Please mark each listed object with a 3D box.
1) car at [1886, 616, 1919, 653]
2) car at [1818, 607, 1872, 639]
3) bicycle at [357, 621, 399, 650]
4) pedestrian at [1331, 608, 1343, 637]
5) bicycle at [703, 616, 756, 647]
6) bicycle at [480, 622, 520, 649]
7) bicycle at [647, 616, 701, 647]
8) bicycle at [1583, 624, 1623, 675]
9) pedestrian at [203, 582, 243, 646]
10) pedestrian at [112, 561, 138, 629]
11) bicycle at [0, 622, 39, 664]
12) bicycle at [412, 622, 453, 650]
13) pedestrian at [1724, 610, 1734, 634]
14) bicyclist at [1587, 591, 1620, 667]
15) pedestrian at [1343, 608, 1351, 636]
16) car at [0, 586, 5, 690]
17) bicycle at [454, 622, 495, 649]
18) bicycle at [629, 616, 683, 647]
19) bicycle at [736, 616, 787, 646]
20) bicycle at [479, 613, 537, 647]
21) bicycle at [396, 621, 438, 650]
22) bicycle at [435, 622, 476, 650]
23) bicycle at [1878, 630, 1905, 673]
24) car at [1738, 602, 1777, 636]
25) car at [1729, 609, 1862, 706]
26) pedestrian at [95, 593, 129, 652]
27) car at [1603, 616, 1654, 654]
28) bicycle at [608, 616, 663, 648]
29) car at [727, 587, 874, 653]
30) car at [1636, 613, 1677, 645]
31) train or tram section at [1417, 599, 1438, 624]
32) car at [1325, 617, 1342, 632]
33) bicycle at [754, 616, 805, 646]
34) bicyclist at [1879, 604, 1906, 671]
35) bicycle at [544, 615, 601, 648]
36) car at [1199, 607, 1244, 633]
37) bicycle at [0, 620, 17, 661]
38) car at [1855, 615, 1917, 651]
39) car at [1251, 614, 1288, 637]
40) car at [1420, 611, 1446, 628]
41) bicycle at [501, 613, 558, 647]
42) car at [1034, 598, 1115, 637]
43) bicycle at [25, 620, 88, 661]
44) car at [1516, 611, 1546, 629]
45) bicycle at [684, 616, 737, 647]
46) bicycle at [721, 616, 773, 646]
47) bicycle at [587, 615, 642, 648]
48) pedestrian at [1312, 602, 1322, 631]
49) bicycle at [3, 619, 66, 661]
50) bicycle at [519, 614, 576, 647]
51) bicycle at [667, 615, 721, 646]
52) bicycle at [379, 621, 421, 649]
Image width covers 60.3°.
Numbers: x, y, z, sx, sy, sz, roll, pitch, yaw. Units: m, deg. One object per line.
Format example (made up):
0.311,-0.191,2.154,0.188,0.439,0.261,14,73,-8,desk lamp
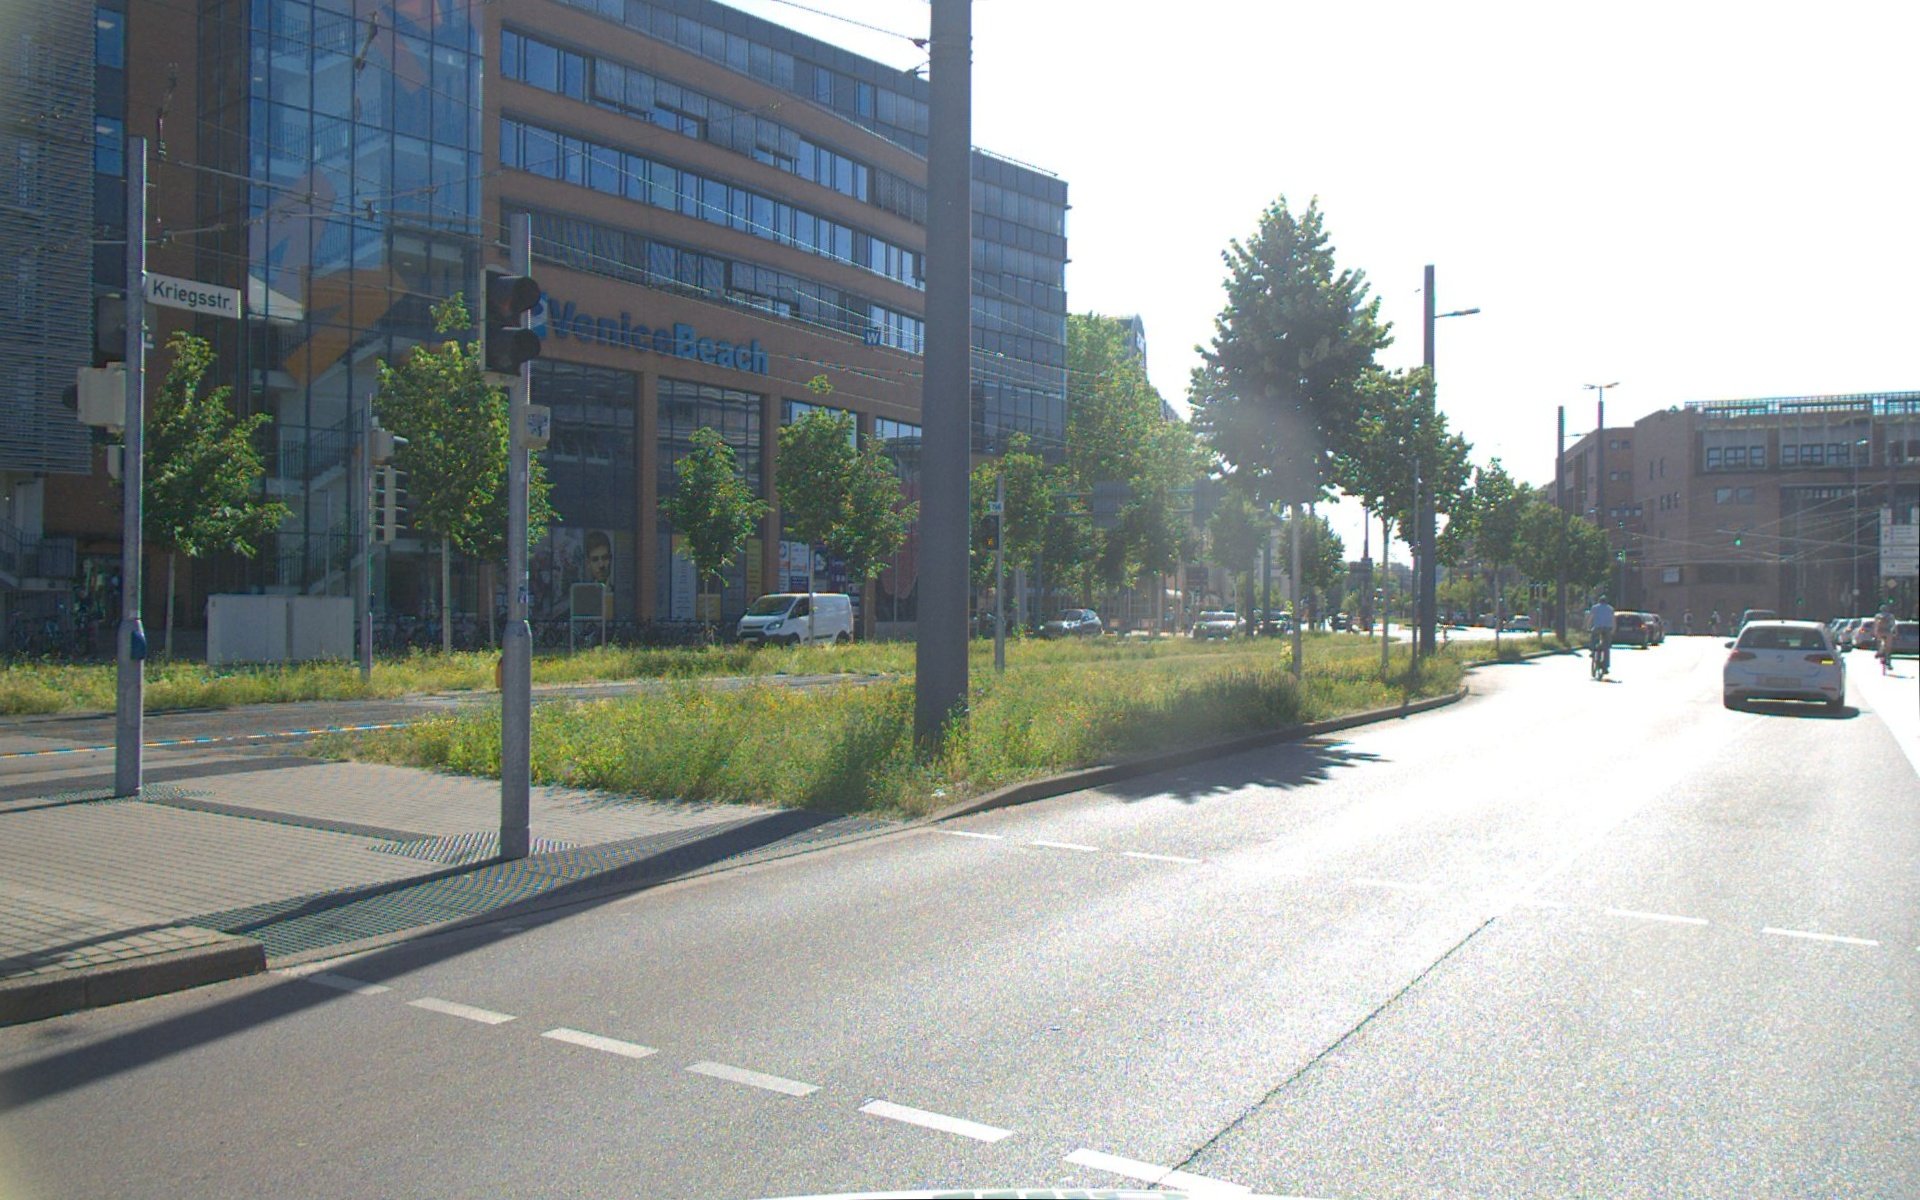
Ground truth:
38.863,1.391,67.302,1.687,1.420,4.784,1,0,25,car
47.342,1.212,88.560,1.866,1.568,4.139,2,1,19,car
-17.703,1.084,50.306,1.421,0.833,0.444,1,0,34,bicycle
23.990,1.445,105.242,0.570,1.863,0.496,1,-1,-14,pedestrian
-9.216,1.250,66.188,2.135,1.143,0.751,1,0,34,bicycle
-15.070,1.147,54.209,1.421,0.833,0.444,1,0,34,bicycle
-11.108,1.219,64.266,2.135,1.143,0.751,1,0,34,bicycle
14.679,1.107,37.715,0.673,1.088,2.695,2,0,25,bicycle
-19.867,0.366,44.602,0.584,1.714,0.778,0,-1,26,pedestrian
-24.510,-0.142,48.557,0.536,1.948,0.368,3,-3,-43,pedestrian
-23.773,1.049,41.245,2.135,0.971,0.491,1,0,34,bicycle
-16.647,1.117,52.184,1.421,0.833,0.444,1,0,34,bicycle
54.549,1.540,117.335,0.468,1.685,0.492,0,-1,8,pedestrian
14.711,0.653,37.786,0.605,1.699,1.019,2,0,25,bicyclist
25.046,1.428,107.153,0.378,1.863,0.463,0,-1,-7,pedestrian
-17.843,0.588,25.155,1.778,1.681,5.525,0,-1,36,car
-15.680,1.131,53.379,1.421,0.833,0.444,1,0,34,bicycle
-11.678,1.206,63.544,2.135,1.143,0.751,1,0,34,bicycle
-8.209,1.269,68.376,2.135,1.143,0.751,1,0,34,bicycle
-15.935,1.043,58.250,2.135,1.143,0.751,1,0,34,bicycle
-16.890,1.096,51.407,1.421,0.833,0.444,1,0,34,bicycle
-16.035,1.134,52.573,1.421,0.833,0.444,1,0,34,bicycle
25.469,1.395,45.239,0.637,1.129,1.755,0,-1,29,bicycle
43.273,1.027,89.804,1.747,1.732,4.135,2,1,24,car
14.085,0.915,27.773,1.740,1.427,4.285,3,1,30,car
-23.153,0.610,45.140,0.656,1.580,0.627,1,-1,-45,pedestrian
28.748,1.486,71.069,1.693,1.591,3.672,0,-1,27,car
-12.295,1.189,62.711,2.135,1.143,0.751,1,0,34,bicycle
-5.150,0.652,54.217,2.179,2.049,5.245,0,-1,30,car
33.382,1.376,79.192,1.692,1.474,4.518,0,-1,24,car
58.583,1.470,207.324,2.277,3.056,13.169,0,0,15,train or tram section
37.699,2.468,166.969,1.575,1.422,3.923,-4,-1,12,car
-7.536,1.289,69.053,2.135,1.143,0.751,1,0,34,bicycle
25.526,1.015,45.294,0.637,1.783,1.043,0,0,30,bicyclist
-14.204,1.141,60.612,2.135,1.143,0.751,1,0,34,bicycle
14.150,1.061,89.398,1.951,1.357,4.793,0,0,14,car
-24.042,0.974,40.759,2.135,0.971,0.491,1,0,34,bicycle
46.372,1.630,82.932,1.866,1.611,4.140,2,1,18,car
19.329,1.570,103.240,1.400,1.383,3.292,0,-1,27,car
49.284,1.988,172.378,2.214,1.758,3.947,0,0,9,car
-15.407,1.078,59.181,2.135,1.143,0.751,1,0,34,bicycle
5.282,0.795,75.631,1.956,1.711,4.530,0,-1,29,car
-23.149,1.040,42.376,2.135,0.971,0.491,1,0,34,bicycle
56.905,1.962,164.879,2.214,1.758,3.947,0,0,9,car
-9.888,1.239,65.609,2.135,1.143,0.751,1,0,34,bicycle
-8.714,1.259,67.489,2.135,1.143,0.751,1,0,34,bicycle
-12.936,1.178,61.934,2.135,1.143,0.751,1,0,34,bicycle
22.476,1.043,104.244,0.452,1.863,0.457,1,-1,-14,pedestrian
-23.436,1.002,41.873,2.135,0.971,0.491,1,0,34,bicycle
-14.939,1.101,59.876,2.135,1.143,0.751,1,0,34,bicycle
-10.458,1.208,64.930,2.135,1.143,0.751,1,0,34,bicycle
-17.253,1.075,50.935,1.421,0.833,0.444,1,0,34,bicycle
